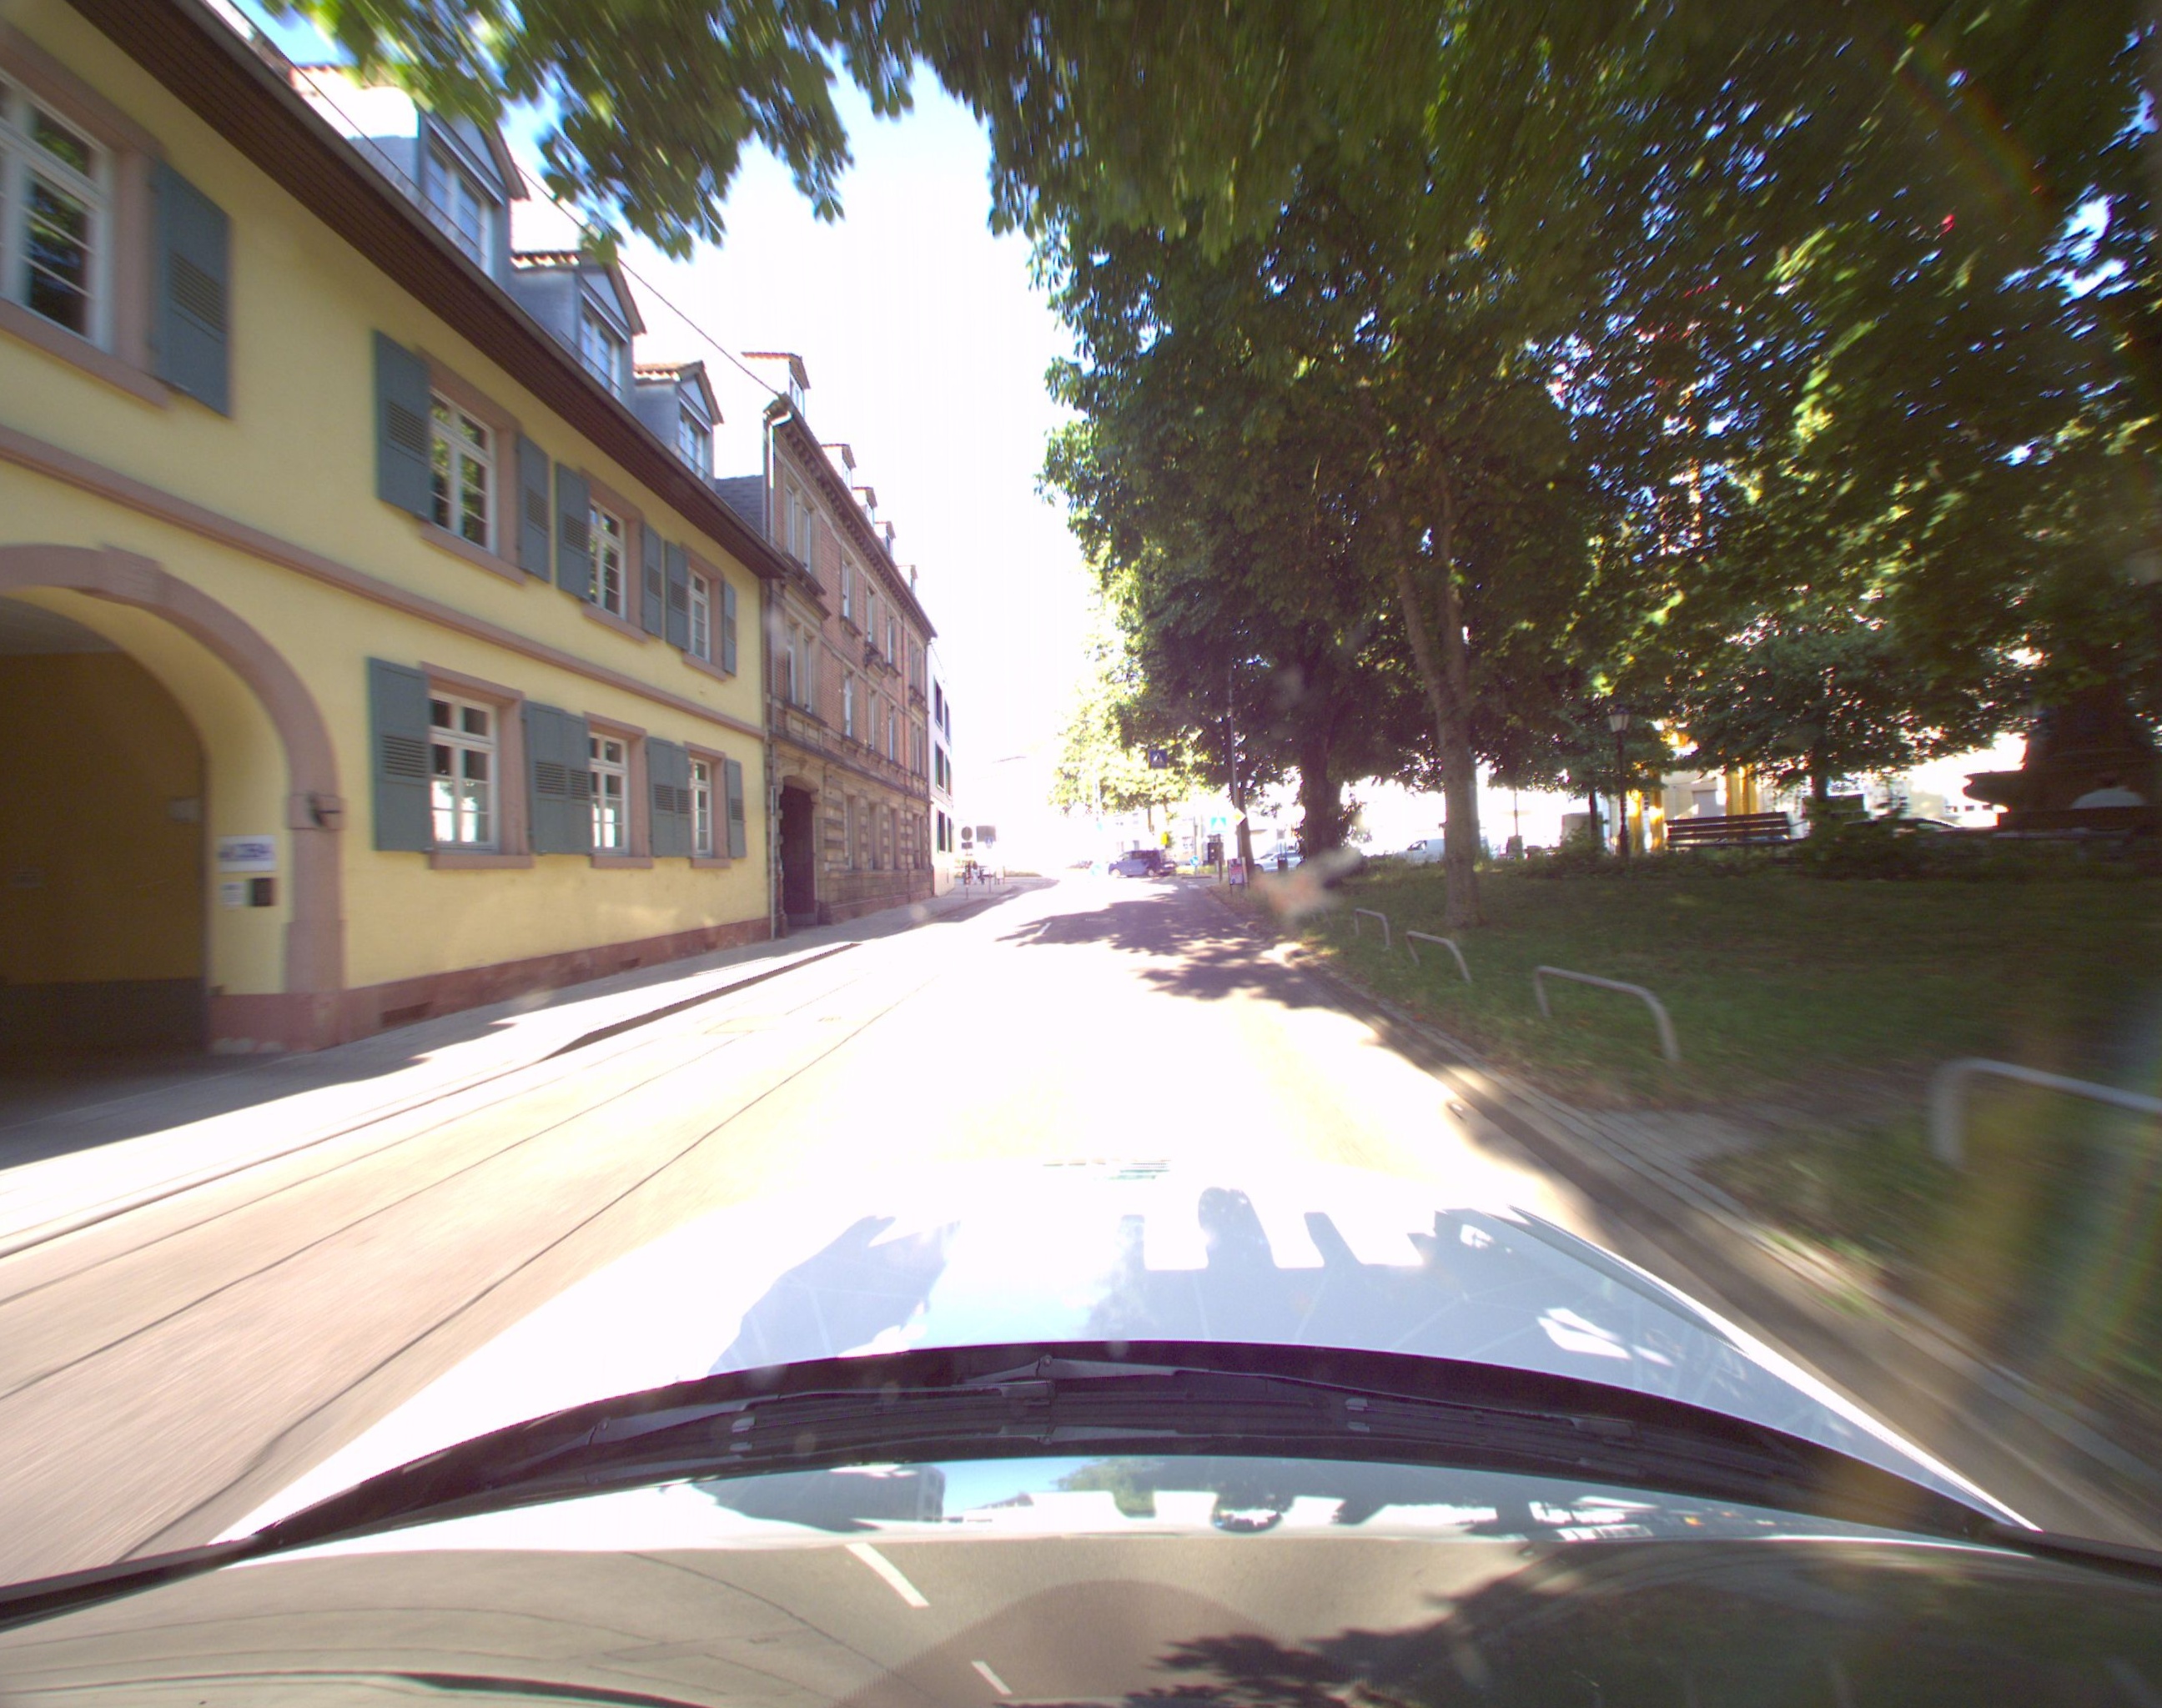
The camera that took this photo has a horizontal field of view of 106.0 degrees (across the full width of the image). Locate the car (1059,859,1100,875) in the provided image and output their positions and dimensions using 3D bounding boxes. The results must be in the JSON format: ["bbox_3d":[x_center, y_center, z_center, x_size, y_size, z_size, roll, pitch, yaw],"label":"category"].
[{"bbox_3d":[-0.176,1.489,90.354,2.011,1.572,4.585,-2,-1,-42],"label":"car"}]

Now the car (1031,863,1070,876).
[{"bbox_3d":[-3.580,1.848,94.272,4.391,1.386,2.012,-2,0,45],"label":"car"}]

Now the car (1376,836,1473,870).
[{"bbox_3d":[20.157,-0.025,47.878,4.838,1.854,2.013,-2,0,37],"label":"car"}]

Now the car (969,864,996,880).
[{"bbox_3d":[-10.007,1.783,82.264,1.965,1.505,3.661,-2,0,-19],"label":"car"}]

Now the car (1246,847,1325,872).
[{"bbox_3d":[13.320,0.352,53.061,4.714,1.463,1.865,-2,0,24],"label":"car"}]

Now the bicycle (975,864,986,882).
[{"bbox_3d":[-6.759,1.298,54.808,0.441,1.178,1.956,0,0,-16],"label":"bicycle"}]

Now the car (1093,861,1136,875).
[{"bbox_3d":[3.501,1.449,86.083,2.011,1.386,4.392,-2,0,-42],"label":"car"}]

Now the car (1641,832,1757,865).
[{"bbox_3d":[29.825,-0.237,39.393,2.009,1.444,4.026,-2,0,-37],"label":"car"}]

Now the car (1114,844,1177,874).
[{"bbox_3d":[4.548,0.404,57.278,3.948,2.014,2.012,-2,-1,39],"label":"car"}]

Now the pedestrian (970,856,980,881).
[{"bbox_3d":[-7.127,0.971,54.837,0.475,1.647,0.599,-2,-2,-16],"label":"pedestrian"}]

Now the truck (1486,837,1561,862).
[{"bbox_3d":[30.305,-0.284,55.791,2.011,1.585,4.048,-2,0,-42],"label":"truck"}]

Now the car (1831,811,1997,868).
[{"bbox_3d":[29.488,-0.436,28.905,2.011,1.794,3.952,1,-2,-41],"label":"car"}]

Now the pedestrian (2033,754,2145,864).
[{"bbox_3d":[12.694,-0.561,10.269,0.697,1.318,0.677,-3,-1,-24],"label":"pedestrian"}]

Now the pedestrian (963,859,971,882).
[{"bbox_3d":[-7.703,1.112,54.939,0.475,1.565,0.599,0,-1,-17],"label":"pedestrian"}]

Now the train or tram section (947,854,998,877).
[{"bbox_3d":[-17.449,1.776,131.923,2.749,3.556,9.980,-2,-1,28],"label":"train or tram section"}]

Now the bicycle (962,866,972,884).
[{"bbox_3d":[-7.660,1.406,54.579,0.376,1.167,1.828,-3,0,-14],"label":"bicycle"}]
